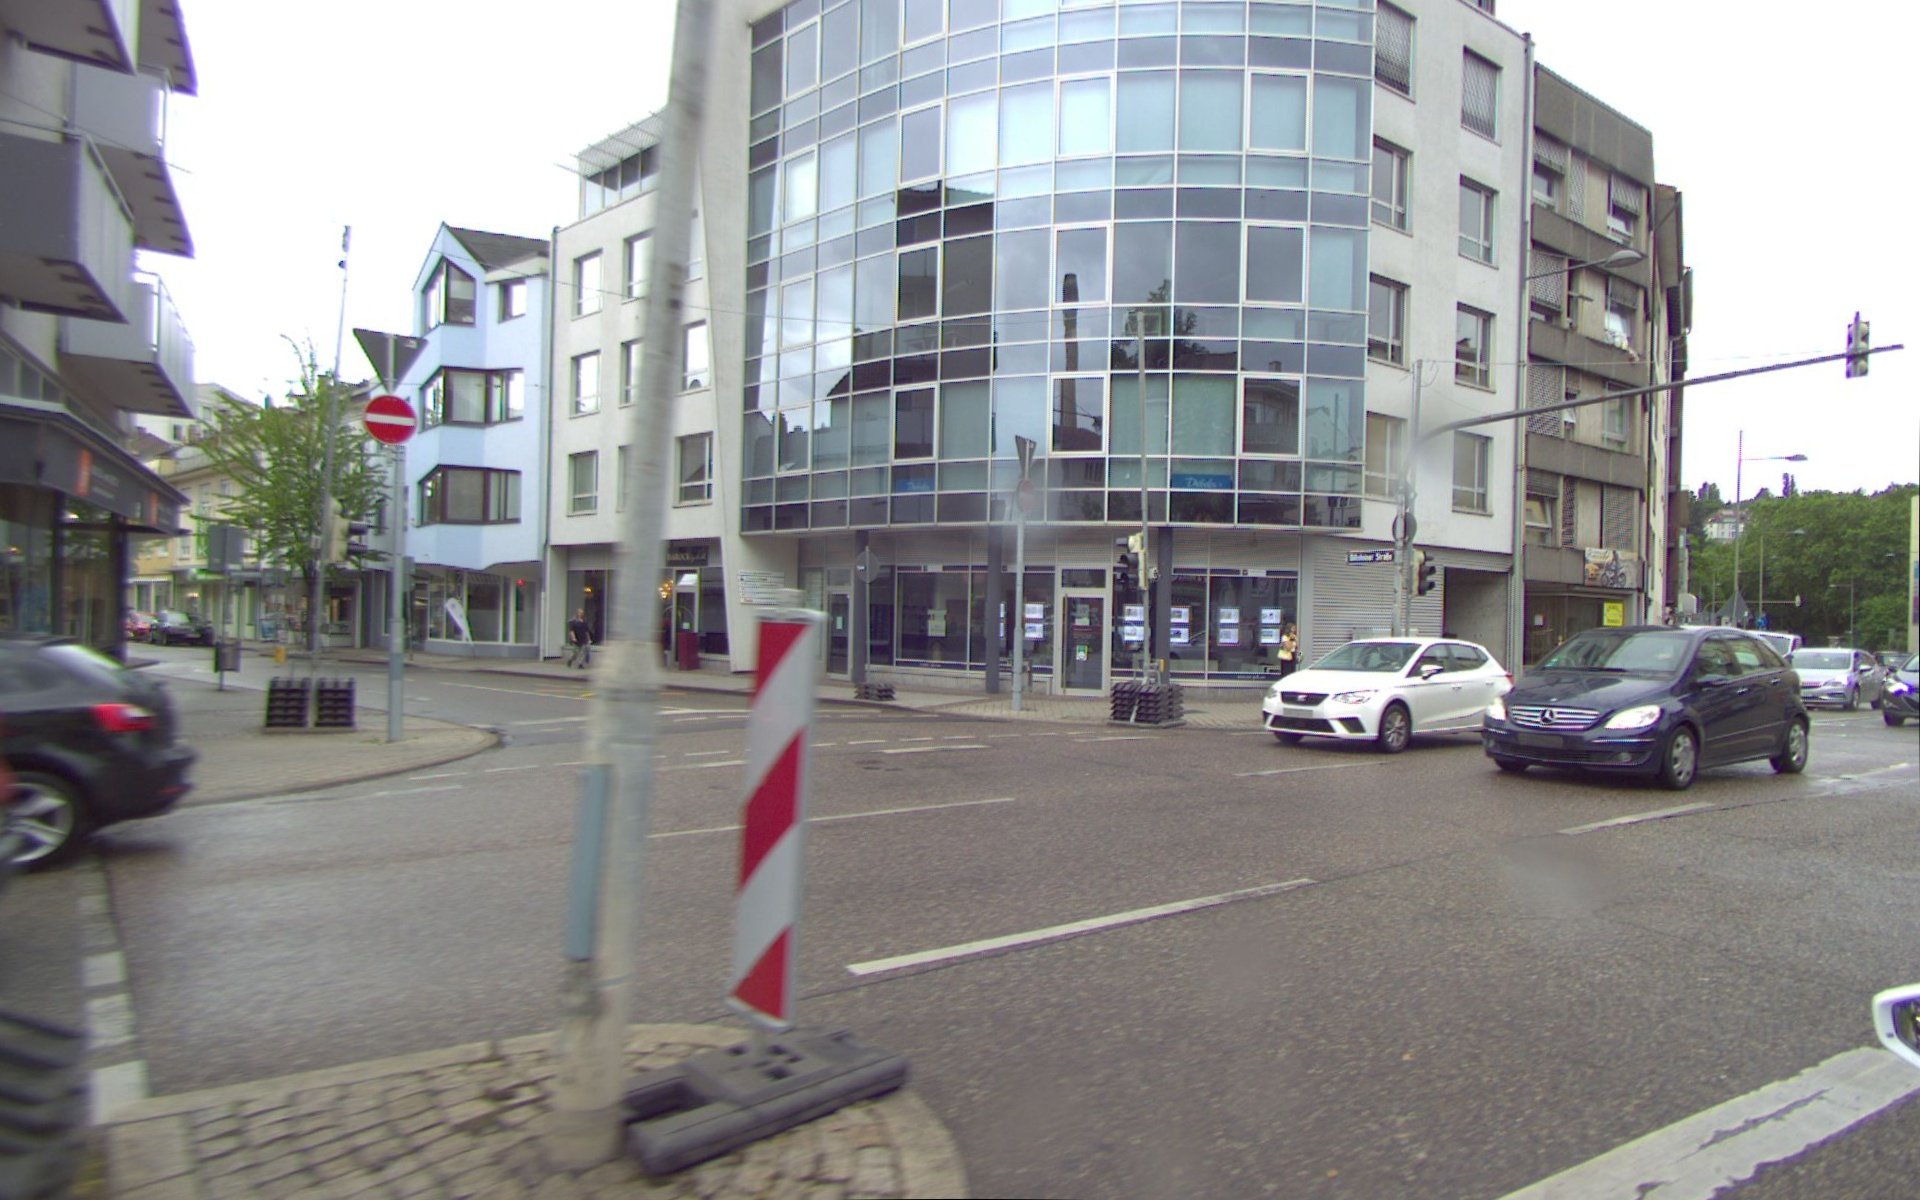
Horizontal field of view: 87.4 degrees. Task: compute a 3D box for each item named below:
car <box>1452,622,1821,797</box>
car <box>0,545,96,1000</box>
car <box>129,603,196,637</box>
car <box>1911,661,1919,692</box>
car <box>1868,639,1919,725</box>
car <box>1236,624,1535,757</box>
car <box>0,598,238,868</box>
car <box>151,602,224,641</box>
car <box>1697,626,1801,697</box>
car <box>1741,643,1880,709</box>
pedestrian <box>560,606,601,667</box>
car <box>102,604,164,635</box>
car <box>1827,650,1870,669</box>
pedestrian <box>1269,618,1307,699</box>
[{"bbox_3d":[7.444,1.051,10.952,4.237,1.563,1.820,2,-2,-33],"label":"car"},{"bbox_3d":[-5.356,0.579,2.898,4.046,1.615,1.837,2,-2,-32],"label":"car"},{"bbox_3d":[-40.642,1.013,51.167,3.941,1.597,1.990,1,-1,41],"label":"car"},{"bbox_3d":[46.832,3.653,47.915,1.662,1.492,3.985,-2,-4,37],"label":"car"},{"bbox_3d":[18.595,1.492,18.573,4.605,1.493,1.840,2,-2,-37],"label":"car"},{"bbox_3d":[5.885,1.146,13.725,4.239,1.544,1.762,2,-2,-34],"label":"car"},{"bbox_3d":[-6.776,0.751,5.896,3.956,1.517,1.837,2,-3,-32],"label":"car"},{"bbox_3d":[-36.324,1.011,47.195,3.942,1.668,1.990,1,-1,42],"label":"car"},{"bbox_3d":[26.140,2.050,33.215,2.096,2.041,5.099,4,-1,44],"label":"car"},{"bbox_3d":[21.336,1.857,25.140,4.567,1.493,1.913,3,-4,-41],"label":"car"},{"bbox_3d":[-10.905,1.033,28.869,0.554,1.675,0.892,0,2,39],"label":"pedestrian"},{"bbox_3d":[-45.160,1.047,54.853,3.941,1.597,1.990,1,-1,41],"label":"car"},{"bbox_3d":[75.437,5.057,85.361,1.905,1.547,4.129,1,-2,29],"label":"car"},{"bbox_3d":[6.773,1.185,20.735,0.614,1.629,0.831,0,-1,27],"label":"pedestrian"}]
